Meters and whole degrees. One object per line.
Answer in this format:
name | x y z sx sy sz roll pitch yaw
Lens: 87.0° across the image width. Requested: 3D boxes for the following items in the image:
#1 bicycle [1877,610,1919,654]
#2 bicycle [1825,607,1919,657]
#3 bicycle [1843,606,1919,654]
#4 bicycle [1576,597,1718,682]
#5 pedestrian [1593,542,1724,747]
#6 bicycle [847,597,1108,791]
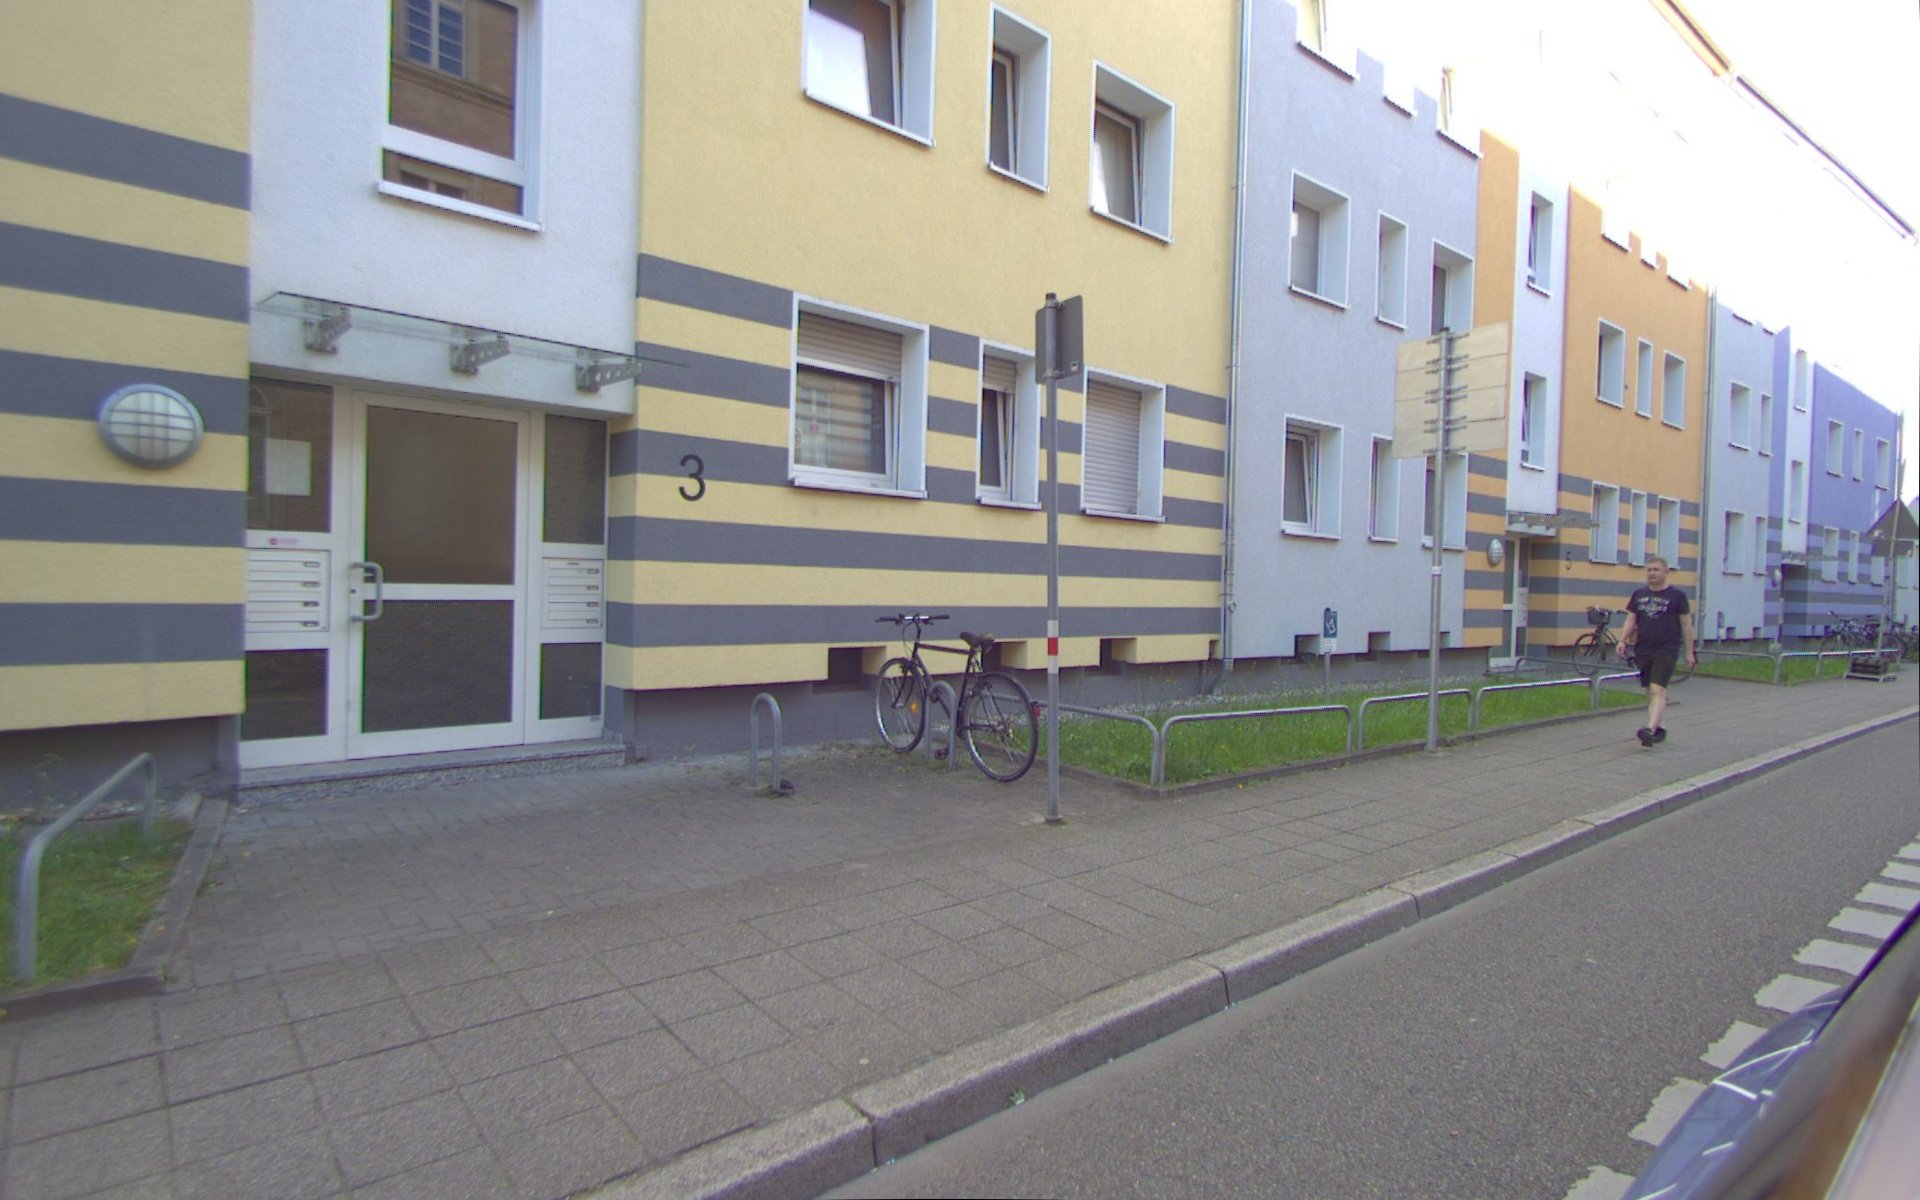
bicycle | 24.175 0.820 25.345 0.625 1.048 1.709 1 3 -42
bicycle | 22.288 0.759 24.676 0.624 1.058 1.711 1 2 -39
bicycle | 23.257 0.744 25.271 0.625 1.095 1.711 1 2 -40
bicycle | 10.748 0.583 15.872 0.625 1.173 1.709 1 3 -42
pedestrian | 6.589 0.388 9.549 0.898 1.810 0.646 1 4 -38
bicycle | 0.053 0.568 7.053 0.625 1.074 1.946 1 3 -42
